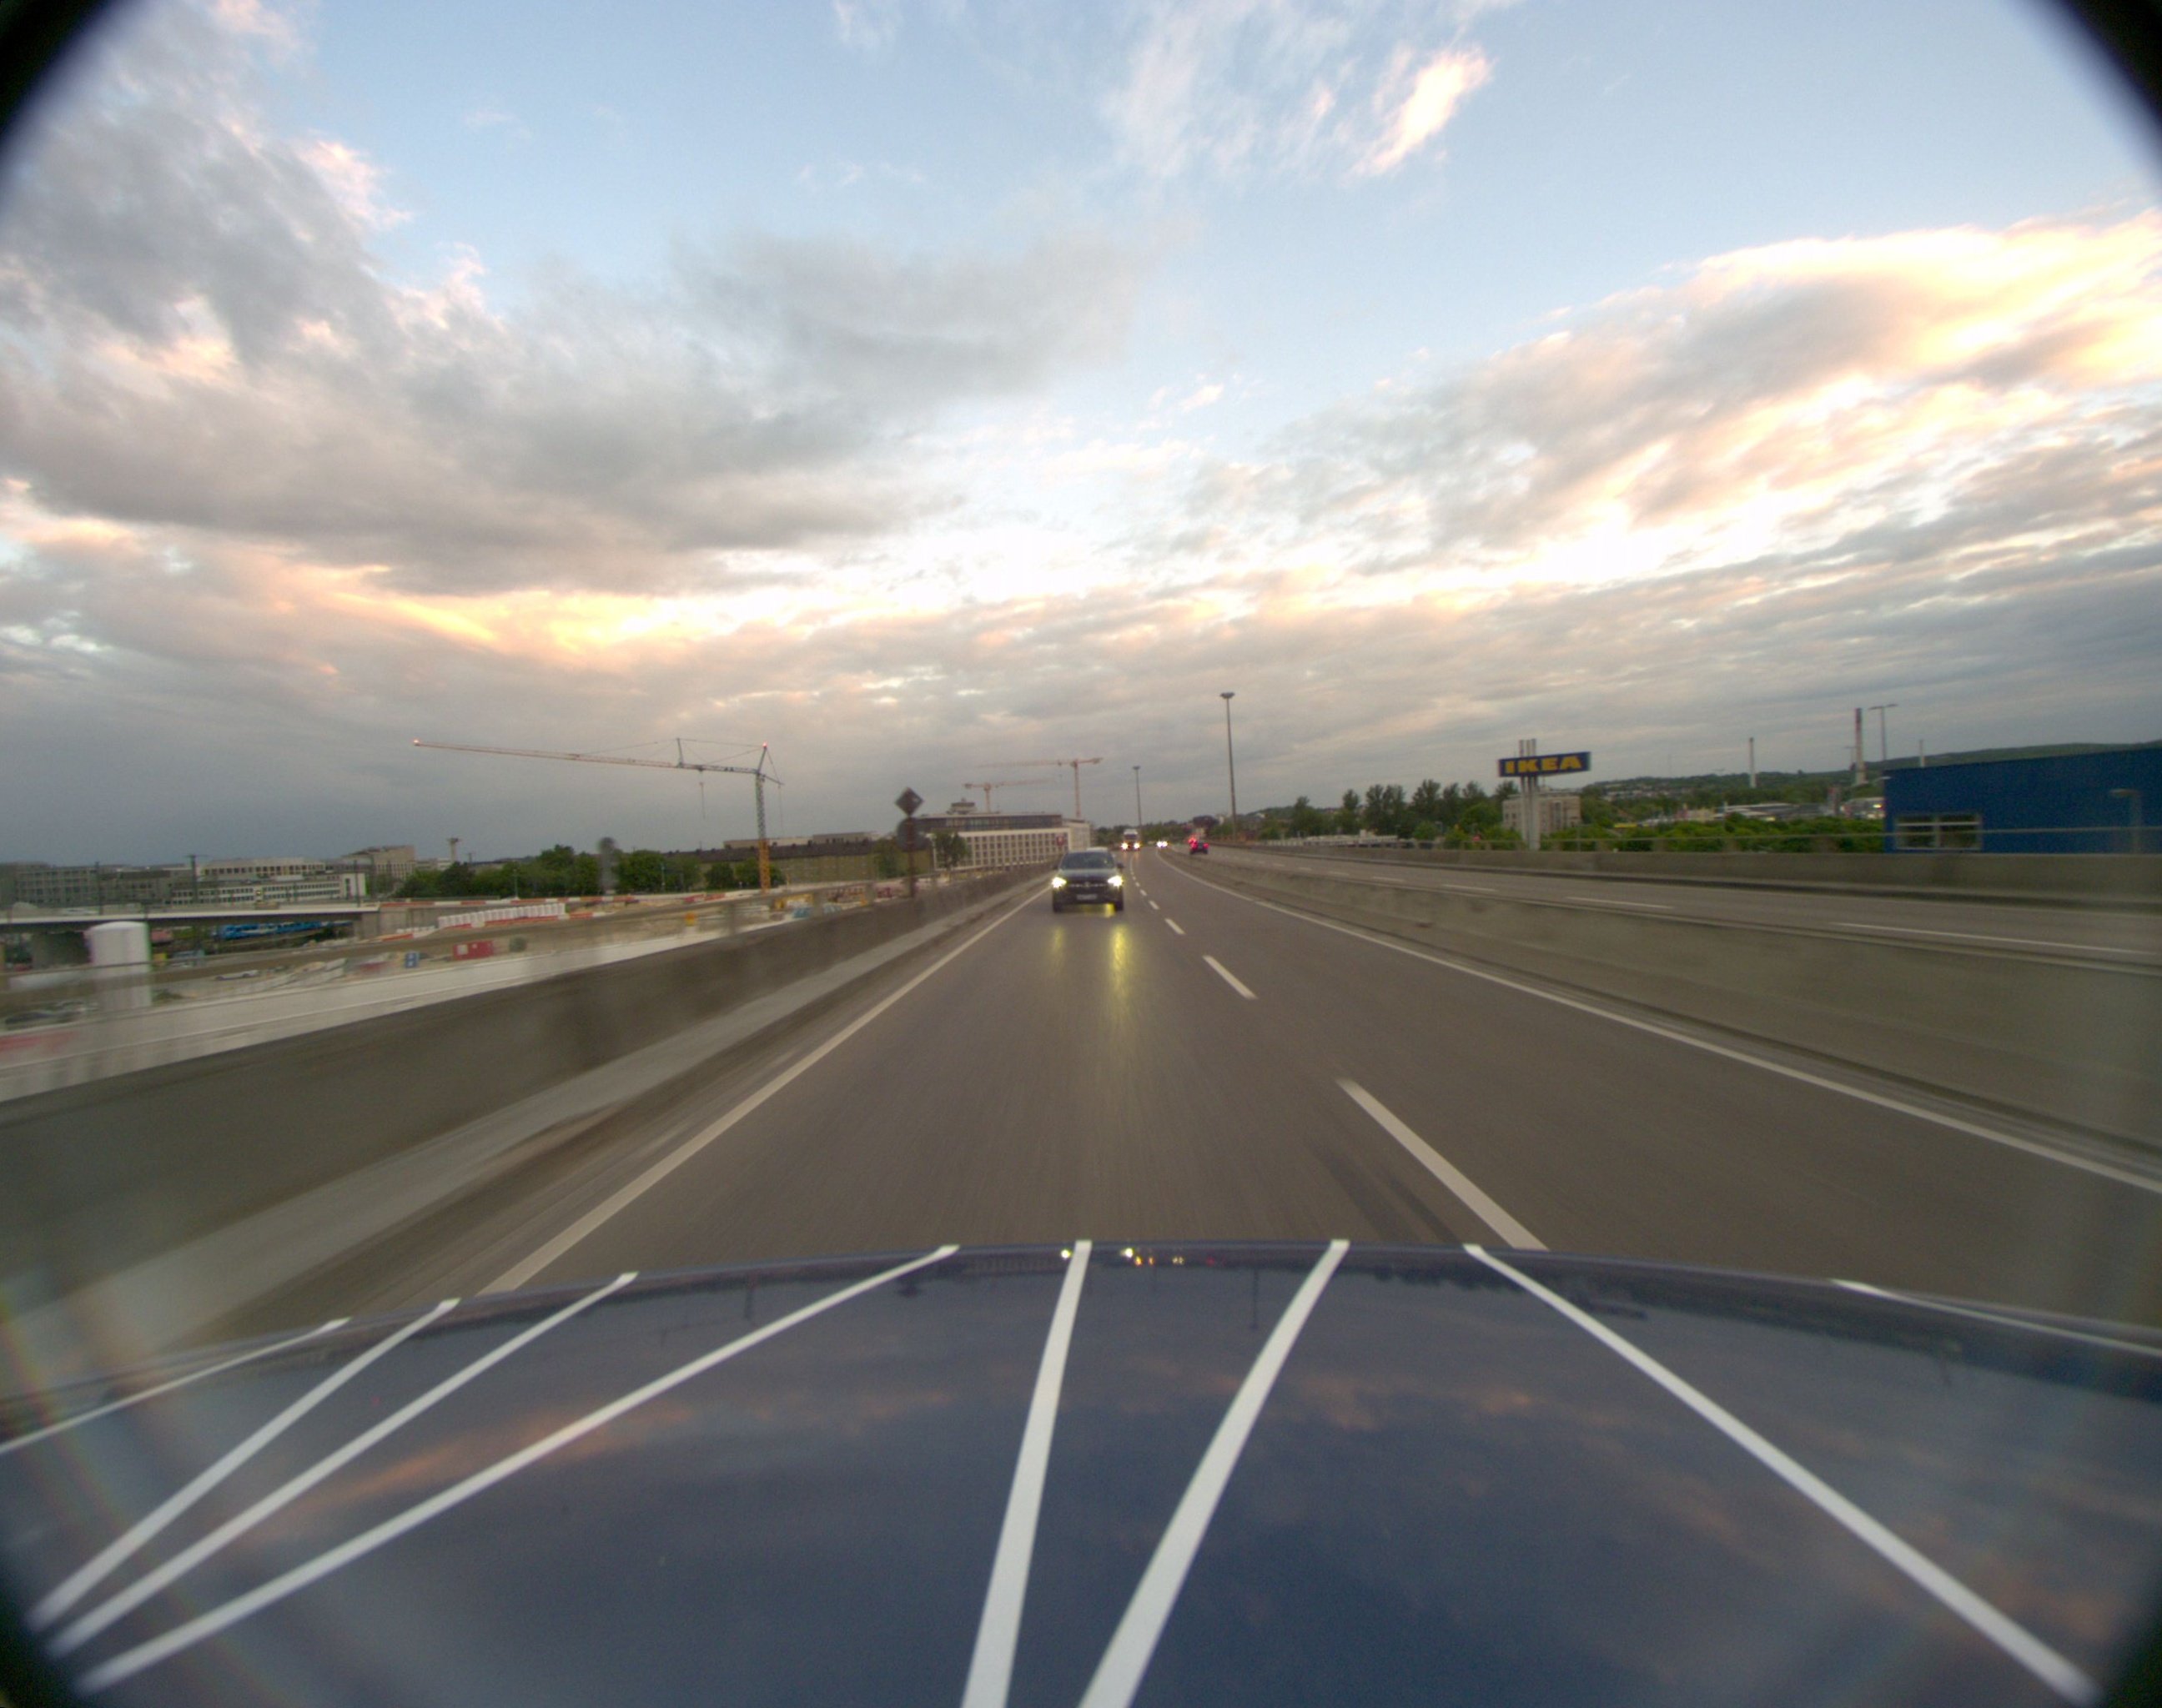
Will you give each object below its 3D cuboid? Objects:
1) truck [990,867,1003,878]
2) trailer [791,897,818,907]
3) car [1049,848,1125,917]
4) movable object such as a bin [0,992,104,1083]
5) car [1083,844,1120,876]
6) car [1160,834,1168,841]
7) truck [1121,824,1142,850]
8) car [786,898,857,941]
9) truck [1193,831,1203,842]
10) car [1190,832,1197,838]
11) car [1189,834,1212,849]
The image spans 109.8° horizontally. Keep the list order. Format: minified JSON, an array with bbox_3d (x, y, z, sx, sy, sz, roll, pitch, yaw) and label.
[{"bbox_3d":[-24.385,5.343,219.799,2.162,2.931,7.338,-5,0,3],"label":"truck"},{"bbox_3d":[-48.189,8.371,132.522,1.780,1.234,4.259,-4,1,33],"label":"trailer"},{"bbox_3d":[0.236,0.691,20.892,1.823,1.603,4.213,-2,1,3],"label":"car"},{"bbox_3d":[-61.106,10.735,43.701,4.956,4.286,2.782,-9,2,-10],"label":"movable object such as a bin"},{"bbox_3d":[1.206,0.339,43.042,1.891,1.641,4.345,-3,0,3],"label":"car"},{"bbox_3d":[23.588,-4.669,215.314,1.997,2.002,4.002,-3,0,9],"label":"car"},{"bbox_3d":[9.160,-3.099,137.943,3.164,4.370,8.795,-2,2,7],"label":"truck"},{"bbox_3d":[-11.303,2.828,33.342,1.754,1.482,3.999,-2,0,-1],"label":"car"},{"bbox_3d":[37.598,-5.682,244.245,2.539,3.278,7.450,-2,2,12],"label":"truck"},{"bbox_3d":[32.656,-5.448,220.305,1.980,1.596,4.443,-2,2,9],"label":"car"},{"bbox_3d":[12.623,-1.305,80.527,1.833,1.472,4.287,-2,2,3],"label":"car"}]
